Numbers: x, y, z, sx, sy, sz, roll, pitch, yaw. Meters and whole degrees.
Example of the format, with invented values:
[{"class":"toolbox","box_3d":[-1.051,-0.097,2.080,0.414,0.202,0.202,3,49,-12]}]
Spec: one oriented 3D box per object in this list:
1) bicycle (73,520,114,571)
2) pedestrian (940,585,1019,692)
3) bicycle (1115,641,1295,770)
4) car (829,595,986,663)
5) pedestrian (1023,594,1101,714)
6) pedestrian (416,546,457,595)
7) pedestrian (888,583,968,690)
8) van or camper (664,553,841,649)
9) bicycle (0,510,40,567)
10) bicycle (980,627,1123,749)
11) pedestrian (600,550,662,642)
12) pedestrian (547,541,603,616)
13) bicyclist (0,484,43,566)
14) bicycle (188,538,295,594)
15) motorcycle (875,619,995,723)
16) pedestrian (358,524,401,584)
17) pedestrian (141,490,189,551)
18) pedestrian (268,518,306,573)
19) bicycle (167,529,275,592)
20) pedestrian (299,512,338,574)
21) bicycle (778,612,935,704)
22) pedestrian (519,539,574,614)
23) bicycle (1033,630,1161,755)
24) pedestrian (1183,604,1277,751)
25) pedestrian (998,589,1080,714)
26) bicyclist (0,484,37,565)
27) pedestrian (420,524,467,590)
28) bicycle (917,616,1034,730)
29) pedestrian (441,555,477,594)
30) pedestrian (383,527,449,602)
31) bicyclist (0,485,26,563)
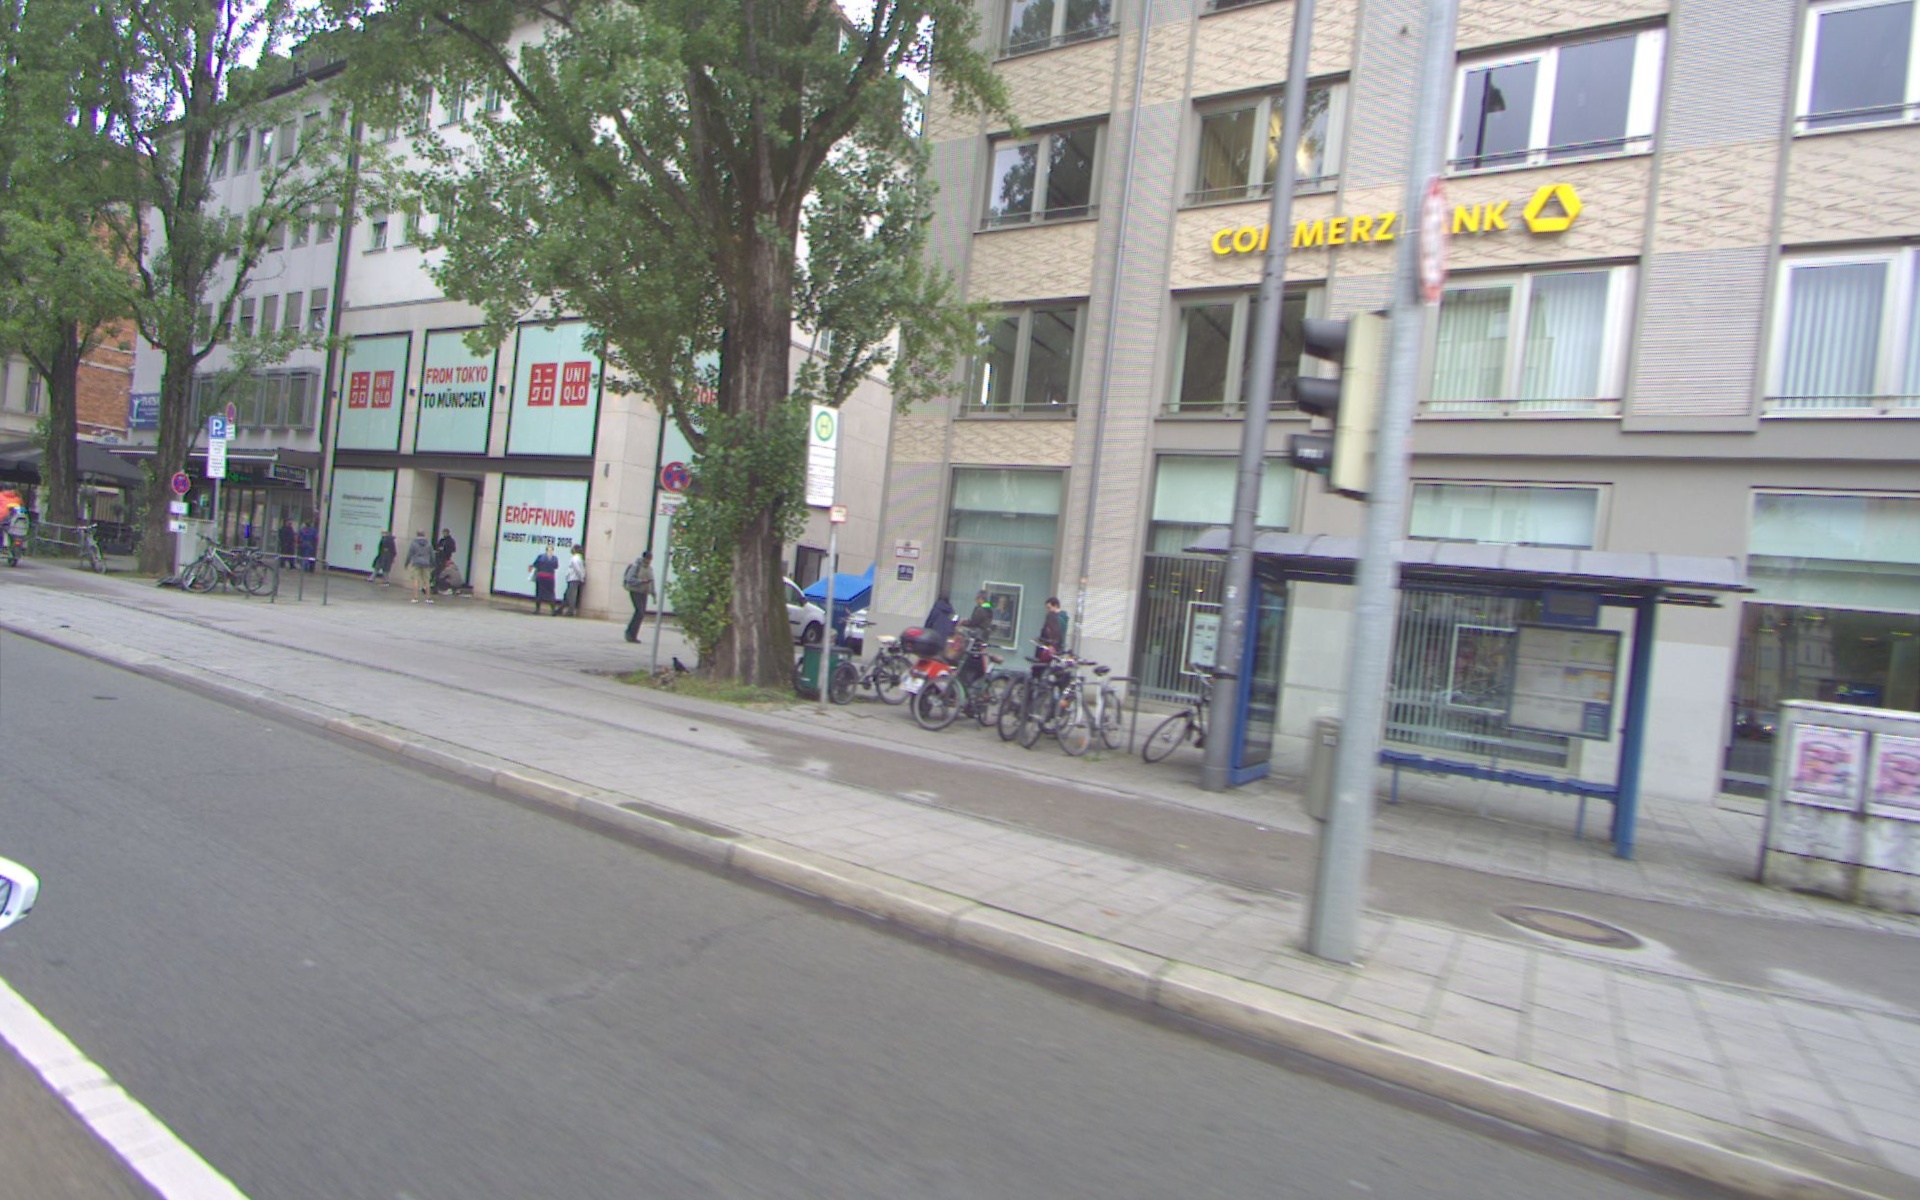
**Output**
[{"class":"bicycle","box_3d":[-19.853,-1.254,23.046,1.705,1.051,0.364,7,1,40]},{"class":"pedestrian","box_3d":[0.344,0.681,17.649,0.947,1.739,0.751,7,0,33]},{"class":"bicycle","box_3d":[2.764,1.202,11.208,2.225,1.268,0.473,7,0,-35]},{"class":"car","box_3d":[-1.311,0.813,26.935,1.869,1.405,4.302,7,0,34]},{"class":"pedestrian","box_3d":[1.616,0.849,15.893,0.845,1.779,0.750,5,0,33]},{"class":"pedestrian","box_3d":[-14.607,-0.815,28.074,0.673,1.249,0.670,8,1,33]},{"class":"pedestrian","box_3d":[-0.542,0.622,17.155,0.947,1.698,0.750,7,1,33]},{"class":"van or camper","box_3d":[-5.196,0.083,25.711,1.868,1.888,4.108,6,-2,35]},{"class":"bicycle","box_3d":[-20.414,-1.357,21.362,2.226,1.100,0.627,7,1,31]},{"class":"bicycle","box_3d":[1.154,1.048,12.082,0.622,1.268,2.346,7,0,31]},{"class":"pedestrian","box_3d":[-6.463,-0.082,19.756,0.914,1.687,0.560,7,1,33]},{"class":"pedestrian","box_3d":[-9.671,-0.531,25.287,0.947,1.739,0.750,7,1,32]},{"class":"bicyclist","box_3d":[-19.593,-1.553,20.883,0.385,1.608,0.622,7,1,31]},{"class":"bicycle","box_3d":[-14.548,-0.683,20.420,0.475,1.059,1.760,7,4,21]},{"class":"motorcycle","box_3d":[-0.277,0.887,12.476,0.501,1.154,1.726,7,0,33]},{"class":"pedestrian","box_3d":[-17.049,-1.343,29.540,0.815,1.629,0.670,7,1,33]},{"class":"pedestrian","box_3d":[-26.564,-2.658,33.611,1.081,1.864,0.827,7,1,33]},{"class":"pedestrian","box_3d":[-21.510,-1.748,32.149,0.760,1.628,0.670,6,-1,39]},{"class":"bicycle","box_3d":[-15.184,-0.790,20.721,0.440,1.124,1.743,7,0,22]},{"class":"pedestrian","box_3d":[-20.604,-1.833,32.304,0.863,1.851,0.829,6,1,-31]},{"class":"bicycle","box_3d":[-1.321,0.785,13.361,0.860,1.029,2.151,7,0,31]},{"class":"pedestrian","box_3d":[-10.104,-0.573,24.584,0.947,1.683,0.652,7,1,32]},{"class":"bicycle","box_3d":[1.639,1.062,11.665,0.469,1.268,2.318,7,0,31]},{"class":"pedestrian","box_3d":[3.694,1.046,13.739,0.875,1.840,0.819,7,0,30]},{"class":"pedestrian","box_3d":[1.197,0.771,15.212,0.845,1.779,0.750,5,0,33]},{"class":"bicyclist","box_3d":[-19.876,-1.583,21.055,0.473,1.608,0.622,7,1,31]},{"class":"pedestrian","box_3d":[-15.025,-1.238,29.262,0.852,1.786,0.683,7,1,26]},{"class":"bicycle","box_3d":[0.222,0.887,12.194,0.442,1.254,1.726,7,0,33]},{"class":"pedestrian","box_3d":[-14.276,-0.726,28.669,0.661,0.981,0.571,7,0,33]},{"class":"pedestrian","box_3d":[-13.284,-0.850,24.584,0.810,1.694,0.987,7,0,14]},{"class":"bicyclist","box_3d":[-20.522,-1.652,21.437,0.740,1.608,0.622,7,1,31]}]
